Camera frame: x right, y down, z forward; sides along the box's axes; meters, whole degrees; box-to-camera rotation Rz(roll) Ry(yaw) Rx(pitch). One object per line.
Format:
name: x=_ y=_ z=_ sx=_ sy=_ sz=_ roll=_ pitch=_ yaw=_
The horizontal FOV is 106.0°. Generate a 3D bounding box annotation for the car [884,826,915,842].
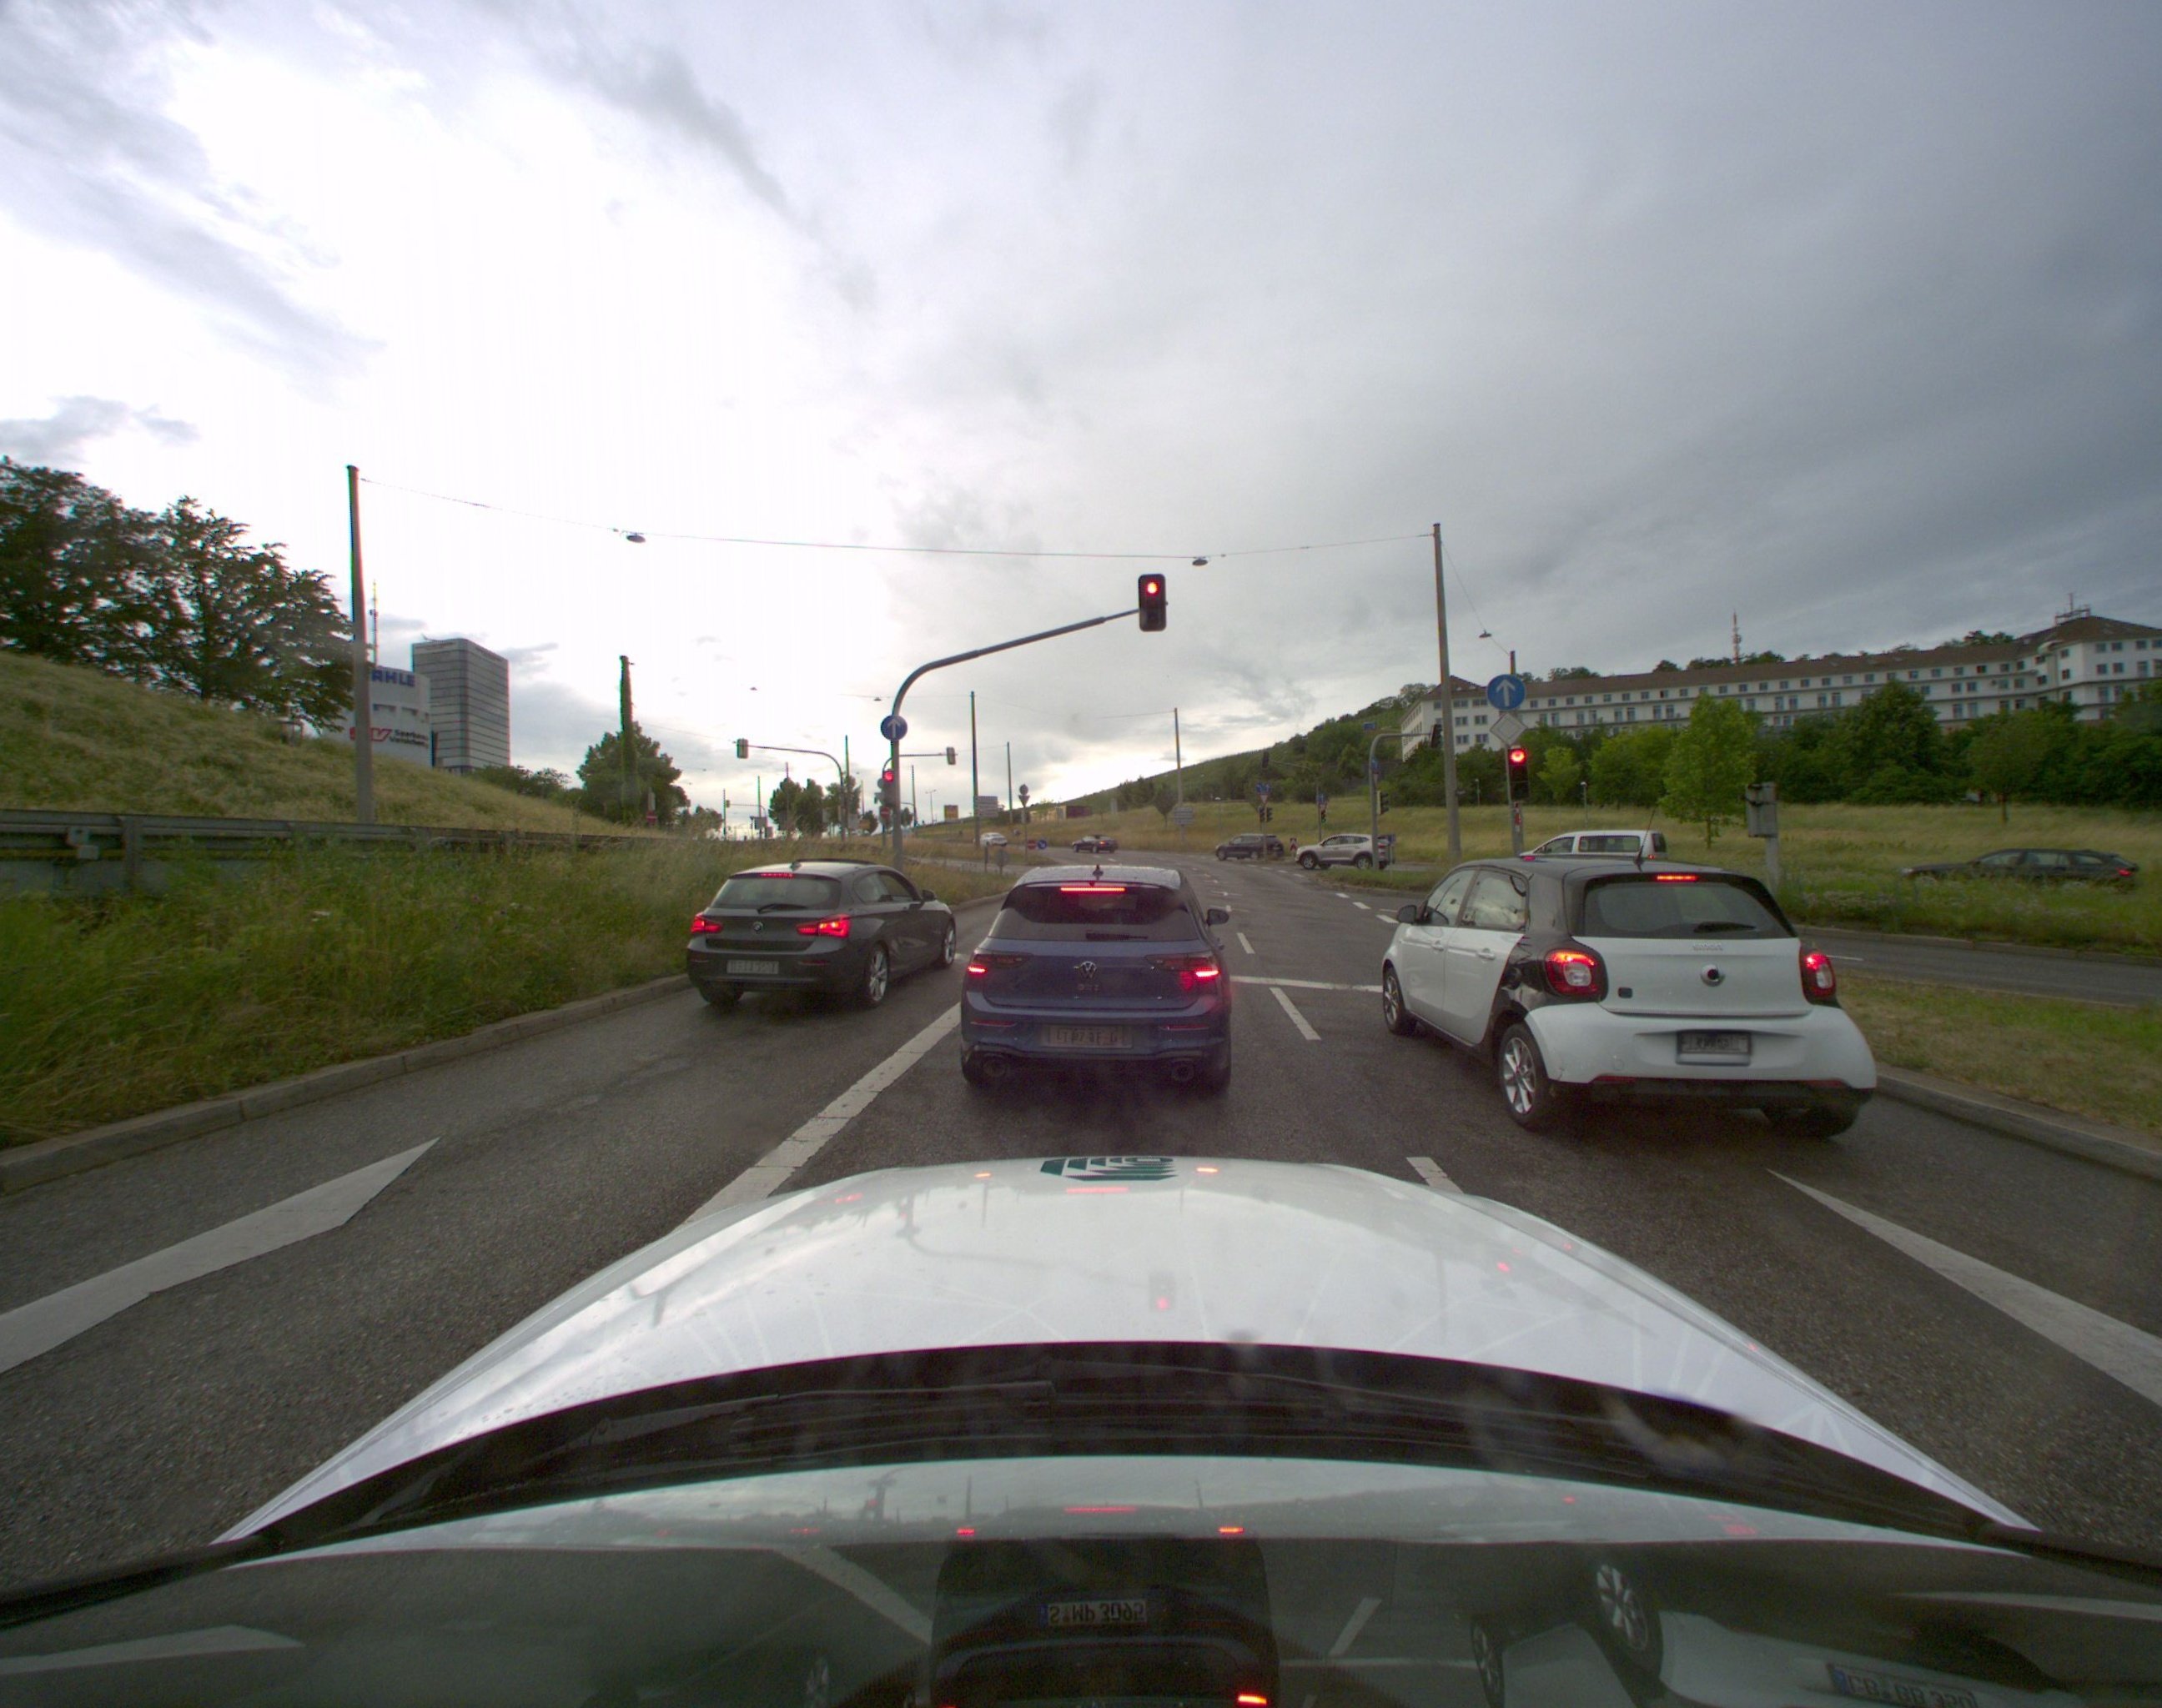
car: x=-22.747 y=-2.469 z=101.881 sx=2.145 sy=1.794 sz=4.690 roll=0 pitch=-1 yaw=-35

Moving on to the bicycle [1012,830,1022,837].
bicycle: x=-7.899 y=-2.531 z=100.487 sx=0.521 sy=0.775 sz=1.605 roll=2 pitch=0 yaw=-31

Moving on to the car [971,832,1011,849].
car: x=-8.682 y=-1.245 z=78.695 sx=2.008 sy=1.477 sz=4.373 roll=0 pitch=-1 yaw=-35

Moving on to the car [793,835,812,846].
car: x=-46.356 y=-2.219 z=135.600 sx=2.008 sy=1.659 sz=4.308 roll=0 pitch=-1 yaw=-33

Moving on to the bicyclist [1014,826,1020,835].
bicyclist: x=-7.908 y=-2.919 z=100.544 sx=0.526 sy=1.046 sz=0.575 roll=2 pitch=0 yaw=-31

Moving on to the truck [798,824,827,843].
truck: x=-48.006 y=-3.669 z=145.588 sx=3.281 sy=3.074 sz=6.111 roll=2 pitch=0 yaw=-35

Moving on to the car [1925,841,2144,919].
car: x=27.304 y=0.714 z=23.456 sx=2.010 sy=2.014 sz=3.954 roll=0 pitch=-1 yaw=-38

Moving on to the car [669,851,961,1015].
car: x=-2.713 y=0.748 z=9.391 sx=1.695 sy=1.460 sz=4.119 roll=-1 pitch=-1 yaw=5

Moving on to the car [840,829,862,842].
car: x=-34.598 y=-2.764 z=122.485 sx=2.008 sy=1.659 sz=4.497 roll=0 pitch=-1 yaw=-33

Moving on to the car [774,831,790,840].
car: x=-59.458 y=-3.624 z=162.055 sx=2.008 sy=1.659 sz=4.498 roll=1 pitch=0 yaw=-33

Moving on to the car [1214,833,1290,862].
car: x=10.345 y=-0.364 z=49.518 sx=2.008 sy=1.637 sz=4.373 roll=0 pitch=-1 yaw=-35

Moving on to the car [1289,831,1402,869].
car: x=12.030 y=-0.159 z=37.222 sx=4.466 sy=1.620 sz=2.012 roll=-1 pitch=-1 yaw=40

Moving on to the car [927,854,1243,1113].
car: x=0.245 y=0.740 z=6.587 sx=1.815 sy=1.460 sz=3.816 roll=-1 pitch=0 yaw=7

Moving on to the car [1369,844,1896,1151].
car: x=3.337 y=0.733 z=5.787 sx=1.649 sy=1.503 sz=3.456 roll=-1 pitch=-1 yaw=6

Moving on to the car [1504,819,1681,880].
car: x=16.903 y=-0.097 z=27.098 sx=1.832 sy=1.850 sz=4.641 roll=0 pitch=-1 yaw=-42

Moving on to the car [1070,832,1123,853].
car: x=1.179 y=-0.897 z=63.867 sx=2.008 sy=1.477 sz=4.455 roll=0 pitch=-1 yaw=-33
